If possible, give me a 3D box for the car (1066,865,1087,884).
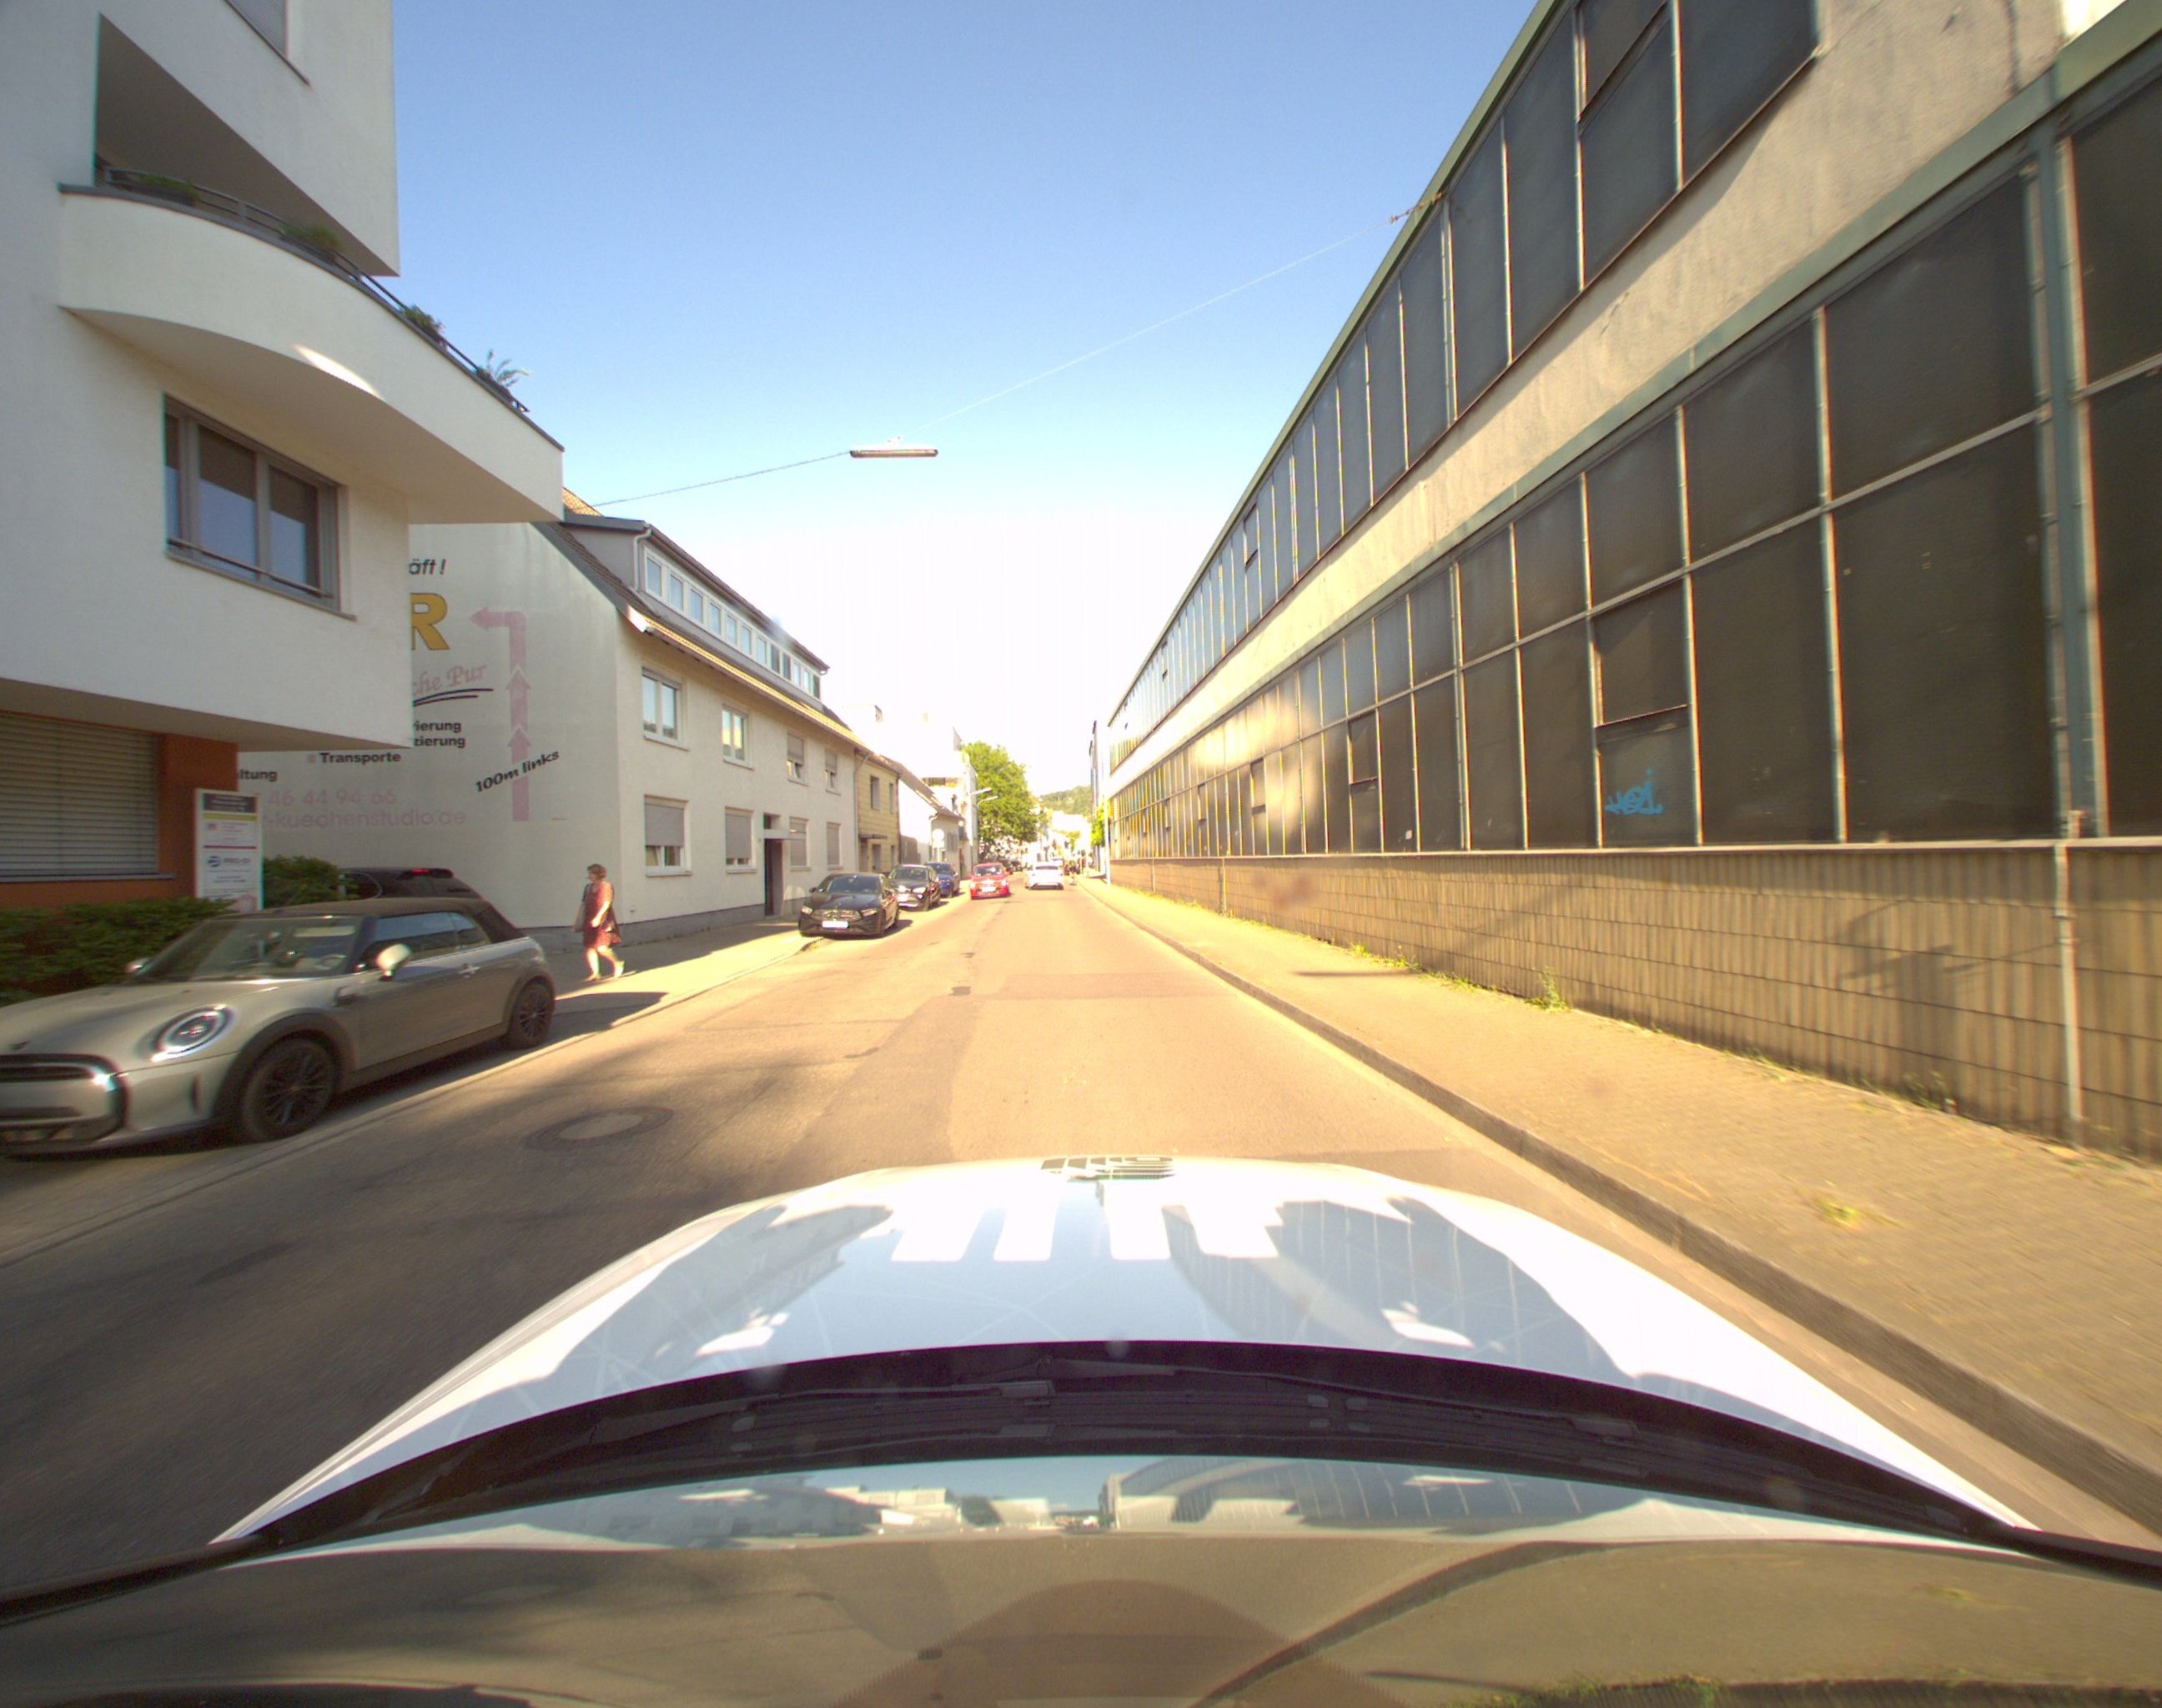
[{"bbox_3d":[-0.480,1.870,76.119,1.626,1.587,4.064,-6,0,-3],"label":"car"}]

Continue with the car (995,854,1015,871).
[{"bbox_3d":[-8.680,0.942,93.082,1.848,1.791,4.605,-3,0,-1],"label":"car"}]

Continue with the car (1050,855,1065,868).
[{"bbox_3d":[-3.541,1.115,122.899,1.850,1.791,4.599,-3,0,-5],"label":"car"}]

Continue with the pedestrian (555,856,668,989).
[{"bbox_3d":[-6.857,0.951,11.937,0.854,1.819,1.138,0,0,20],"label":"pedestrian"}]

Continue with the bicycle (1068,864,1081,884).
[{"bbox_3d":[-0.385,1.174,48.166,0.696,1.130,2.401,-3,-1,-2],"label":"bicycle"}]

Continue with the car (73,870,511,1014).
[{"bbox_3d":[-12.090,1.275,12.818,4.599,1.638,2.011,-4,1,-5],"label":"car"}]

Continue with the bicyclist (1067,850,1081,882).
[{"bbox_3d":[-0.412,0.702,48.091,0.696,1.790,1.040,-3,-1,-2],"label":"bicyclist"}]

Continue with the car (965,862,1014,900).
[{"bbox_3d":[-3.930,1.121,35.659,1.838,1.491,4.139,-3,-1,-3],"label":"car"}]

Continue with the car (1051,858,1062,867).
[{"bbox_3d":[-4.961,1.742,167.544,1.939,1.587,4.621,-6,0,1],"label":"car"}]

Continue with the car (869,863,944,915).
[{"bbox_3d":[-6.177,1.207,29.328,1.853,1.587,4.332,-1,1,-2],"label":"car"}]

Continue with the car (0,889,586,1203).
[{"bbox_3d":[-5.776,1.130,6.334,1.664,1.536,3.851,-2,-1,-4],"label":"car"}]

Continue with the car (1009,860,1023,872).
[{"bbox_3d":[-8.871,1.636,111.516,1.700,1.575,3.909,-3,0,-3],"label":"car"}]

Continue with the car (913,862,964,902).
[{"bbox_3d":[-6.607,1.247,38.130,1.805,1.587,4.188,-2,1,-3],"label":"car"}]

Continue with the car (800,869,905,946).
[{"bbox_3d":[-5.291,1.161,19.367,1.683,1.535,4.324,-1,-1,-7],"label":"car"}]

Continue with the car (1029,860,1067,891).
[{"bbox_3d":[-1.769,1.089,42.579,1.838,1.491,4.138,-3,-1,-4],"label":"car"}]
